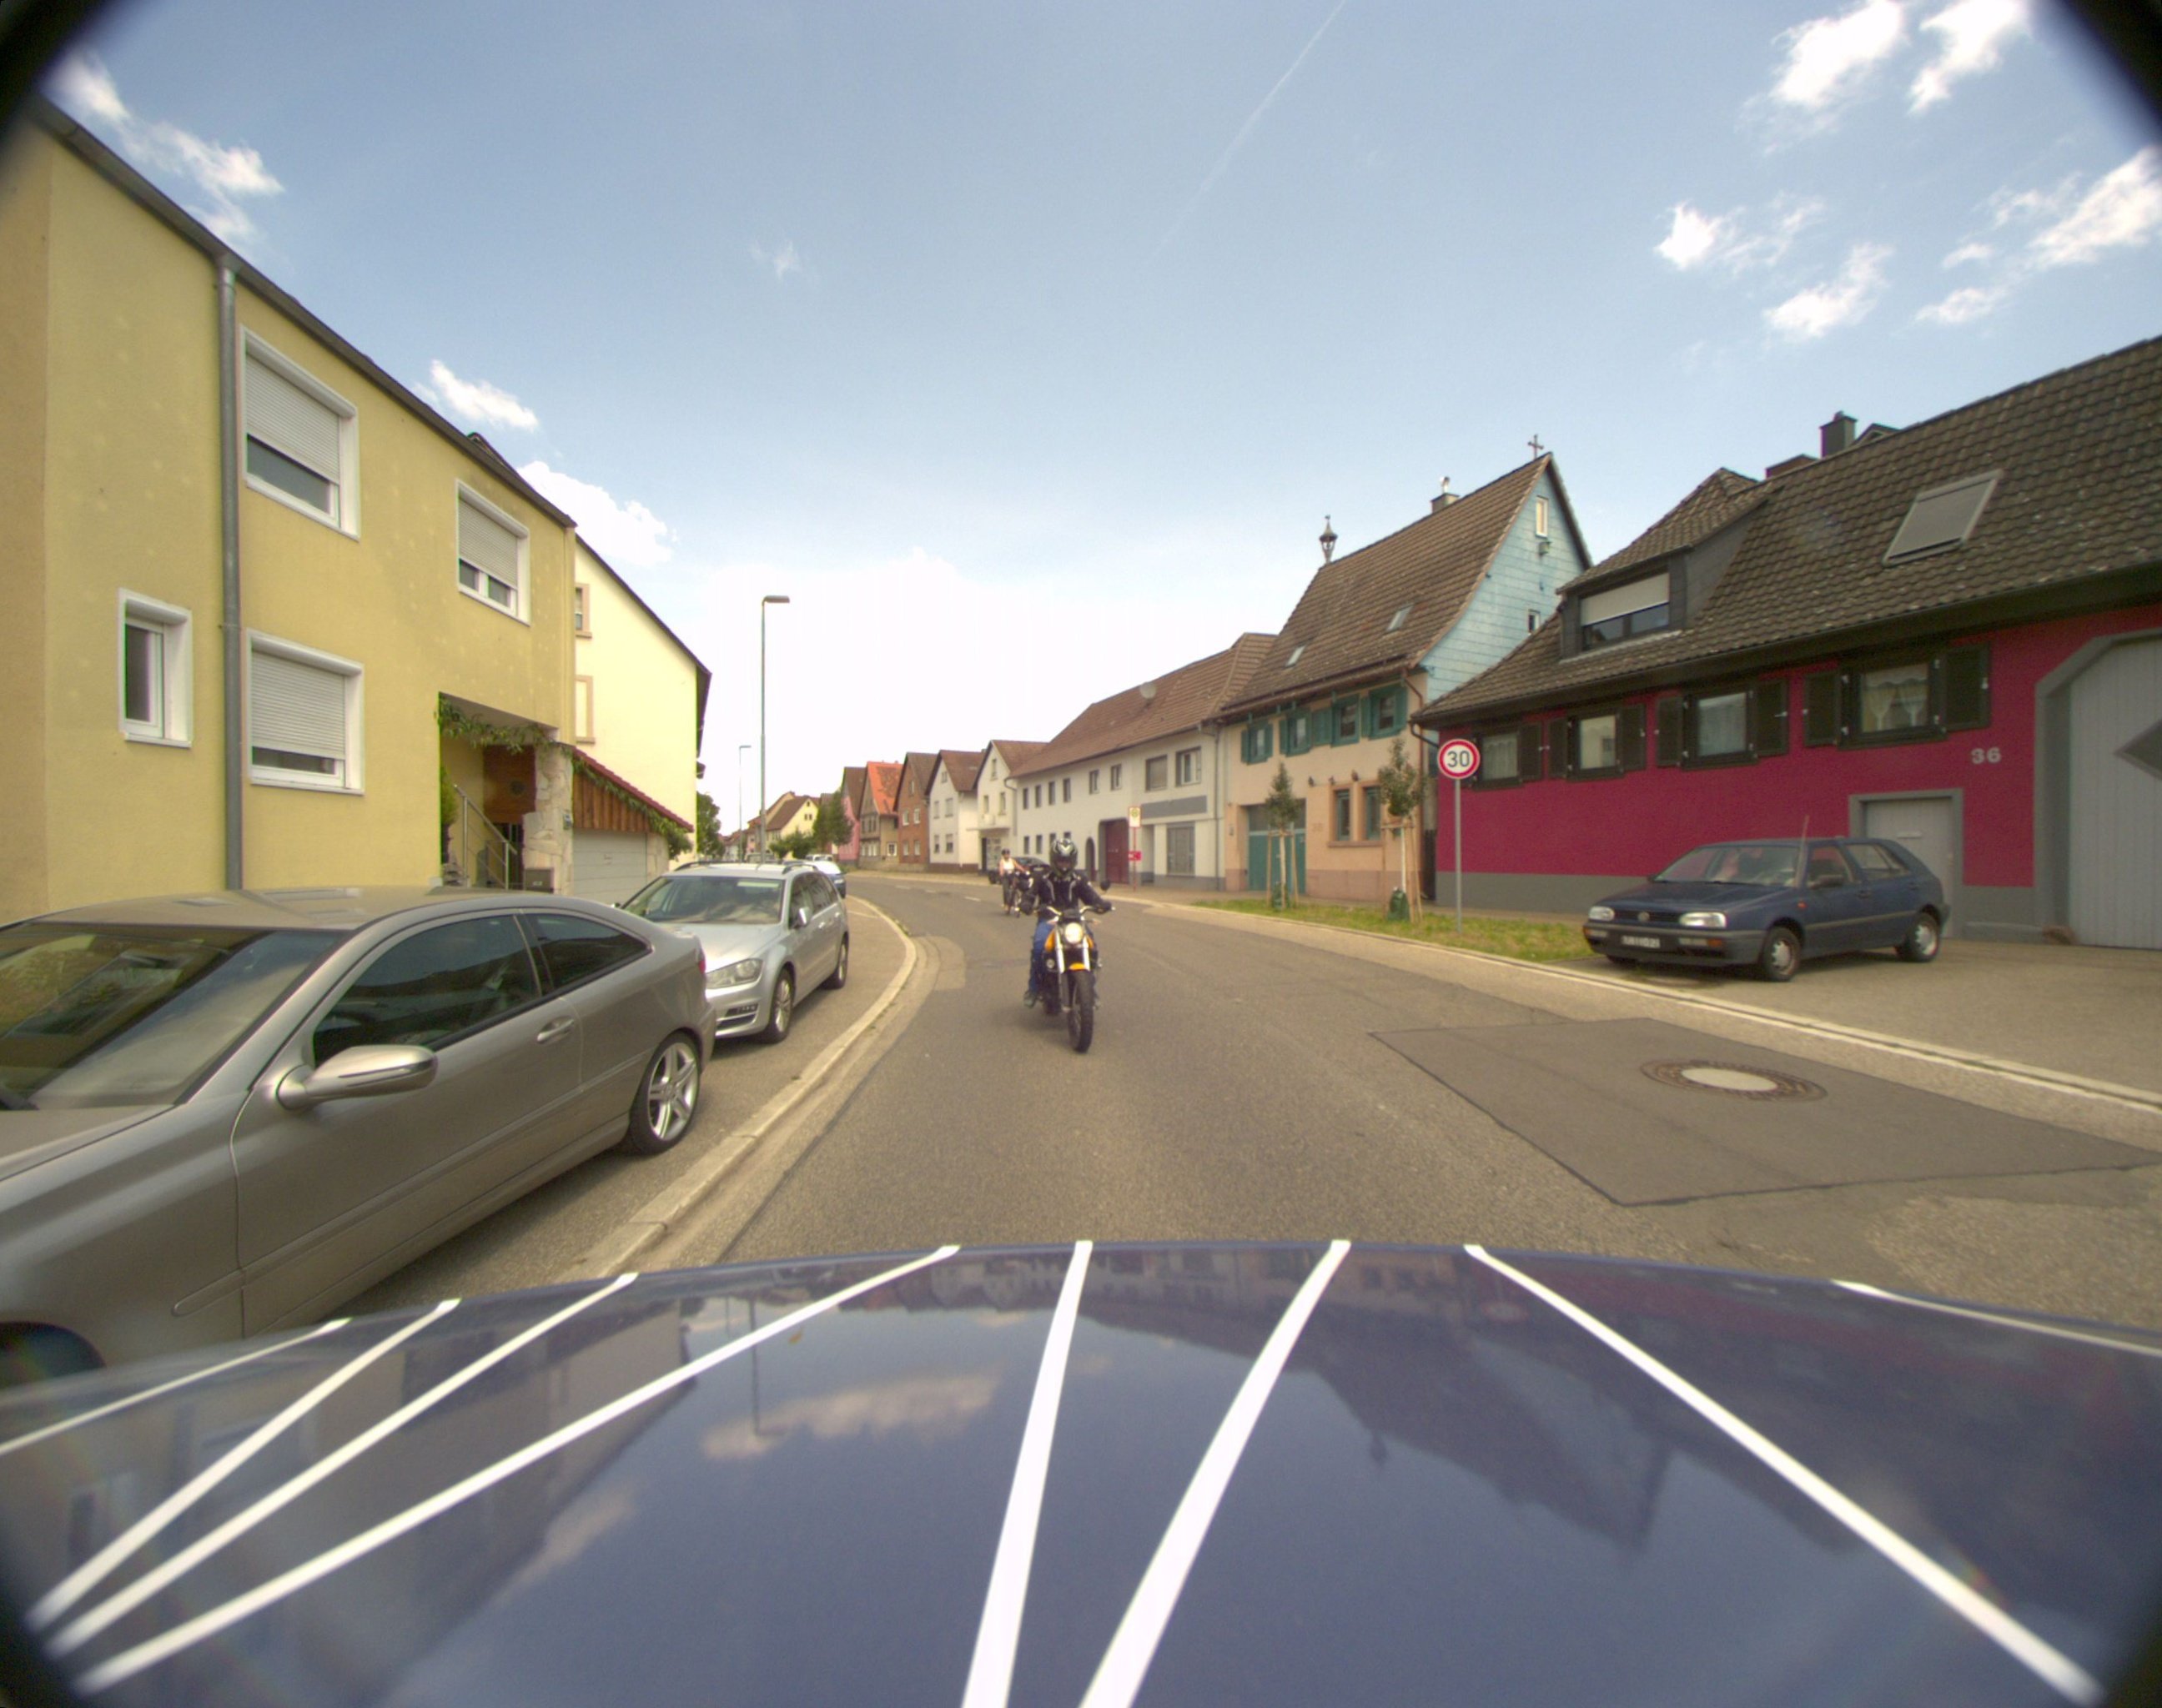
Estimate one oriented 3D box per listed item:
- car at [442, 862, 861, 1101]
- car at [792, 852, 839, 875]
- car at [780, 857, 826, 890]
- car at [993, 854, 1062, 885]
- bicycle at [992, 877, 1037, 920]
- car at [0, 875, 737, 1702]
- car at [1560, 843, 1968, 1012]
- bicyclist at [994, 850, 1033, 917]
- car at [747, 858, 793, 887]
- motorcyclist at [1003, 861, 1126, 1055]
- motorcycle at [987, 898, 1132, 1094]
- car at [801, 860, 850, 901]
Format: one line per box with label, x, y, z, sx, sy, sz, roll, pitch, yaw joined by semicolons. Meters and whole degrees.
car;-3.503;0.894;7.288;1.890;1.521;4.333;2;0;-6
car;-22.676;0.787;64.788;2.004;1.790;4.921;-3;3;-42
car;-13.770;0.965;37.517;1.776;1.520;3.993;-1;-2;-25
car;-2.755;0.749;37.777;1.812;1.412;4.541;-2;0;-26
bicycle;-1.744;1.127;19.722;0.934;1.005;1.923;-2;0;-11
car;-2.976;0.905;2.399;1.775;1.392;4.423;2;1;-1
car;7.601;0.666;8.490;3.983;1.456;1.718;-2;1;-20
bicyclist;-1.769;0.757;19.827;0.910;1.679;0.760;-2;2;-10
car;-18.897;1.088;46.049;1.669;1.638;3.989;-3;1;-35
motorcyclist;-0.134;0.885;6.806;1.000;1.591;0.799;-1;2;1
motorcycle;-0.140;1.082;6.497;0.985;1.234;2.103;-3;0;1
car;-10.198;1.007;30.203;1.730;1.378;3.992;0;1;-20
